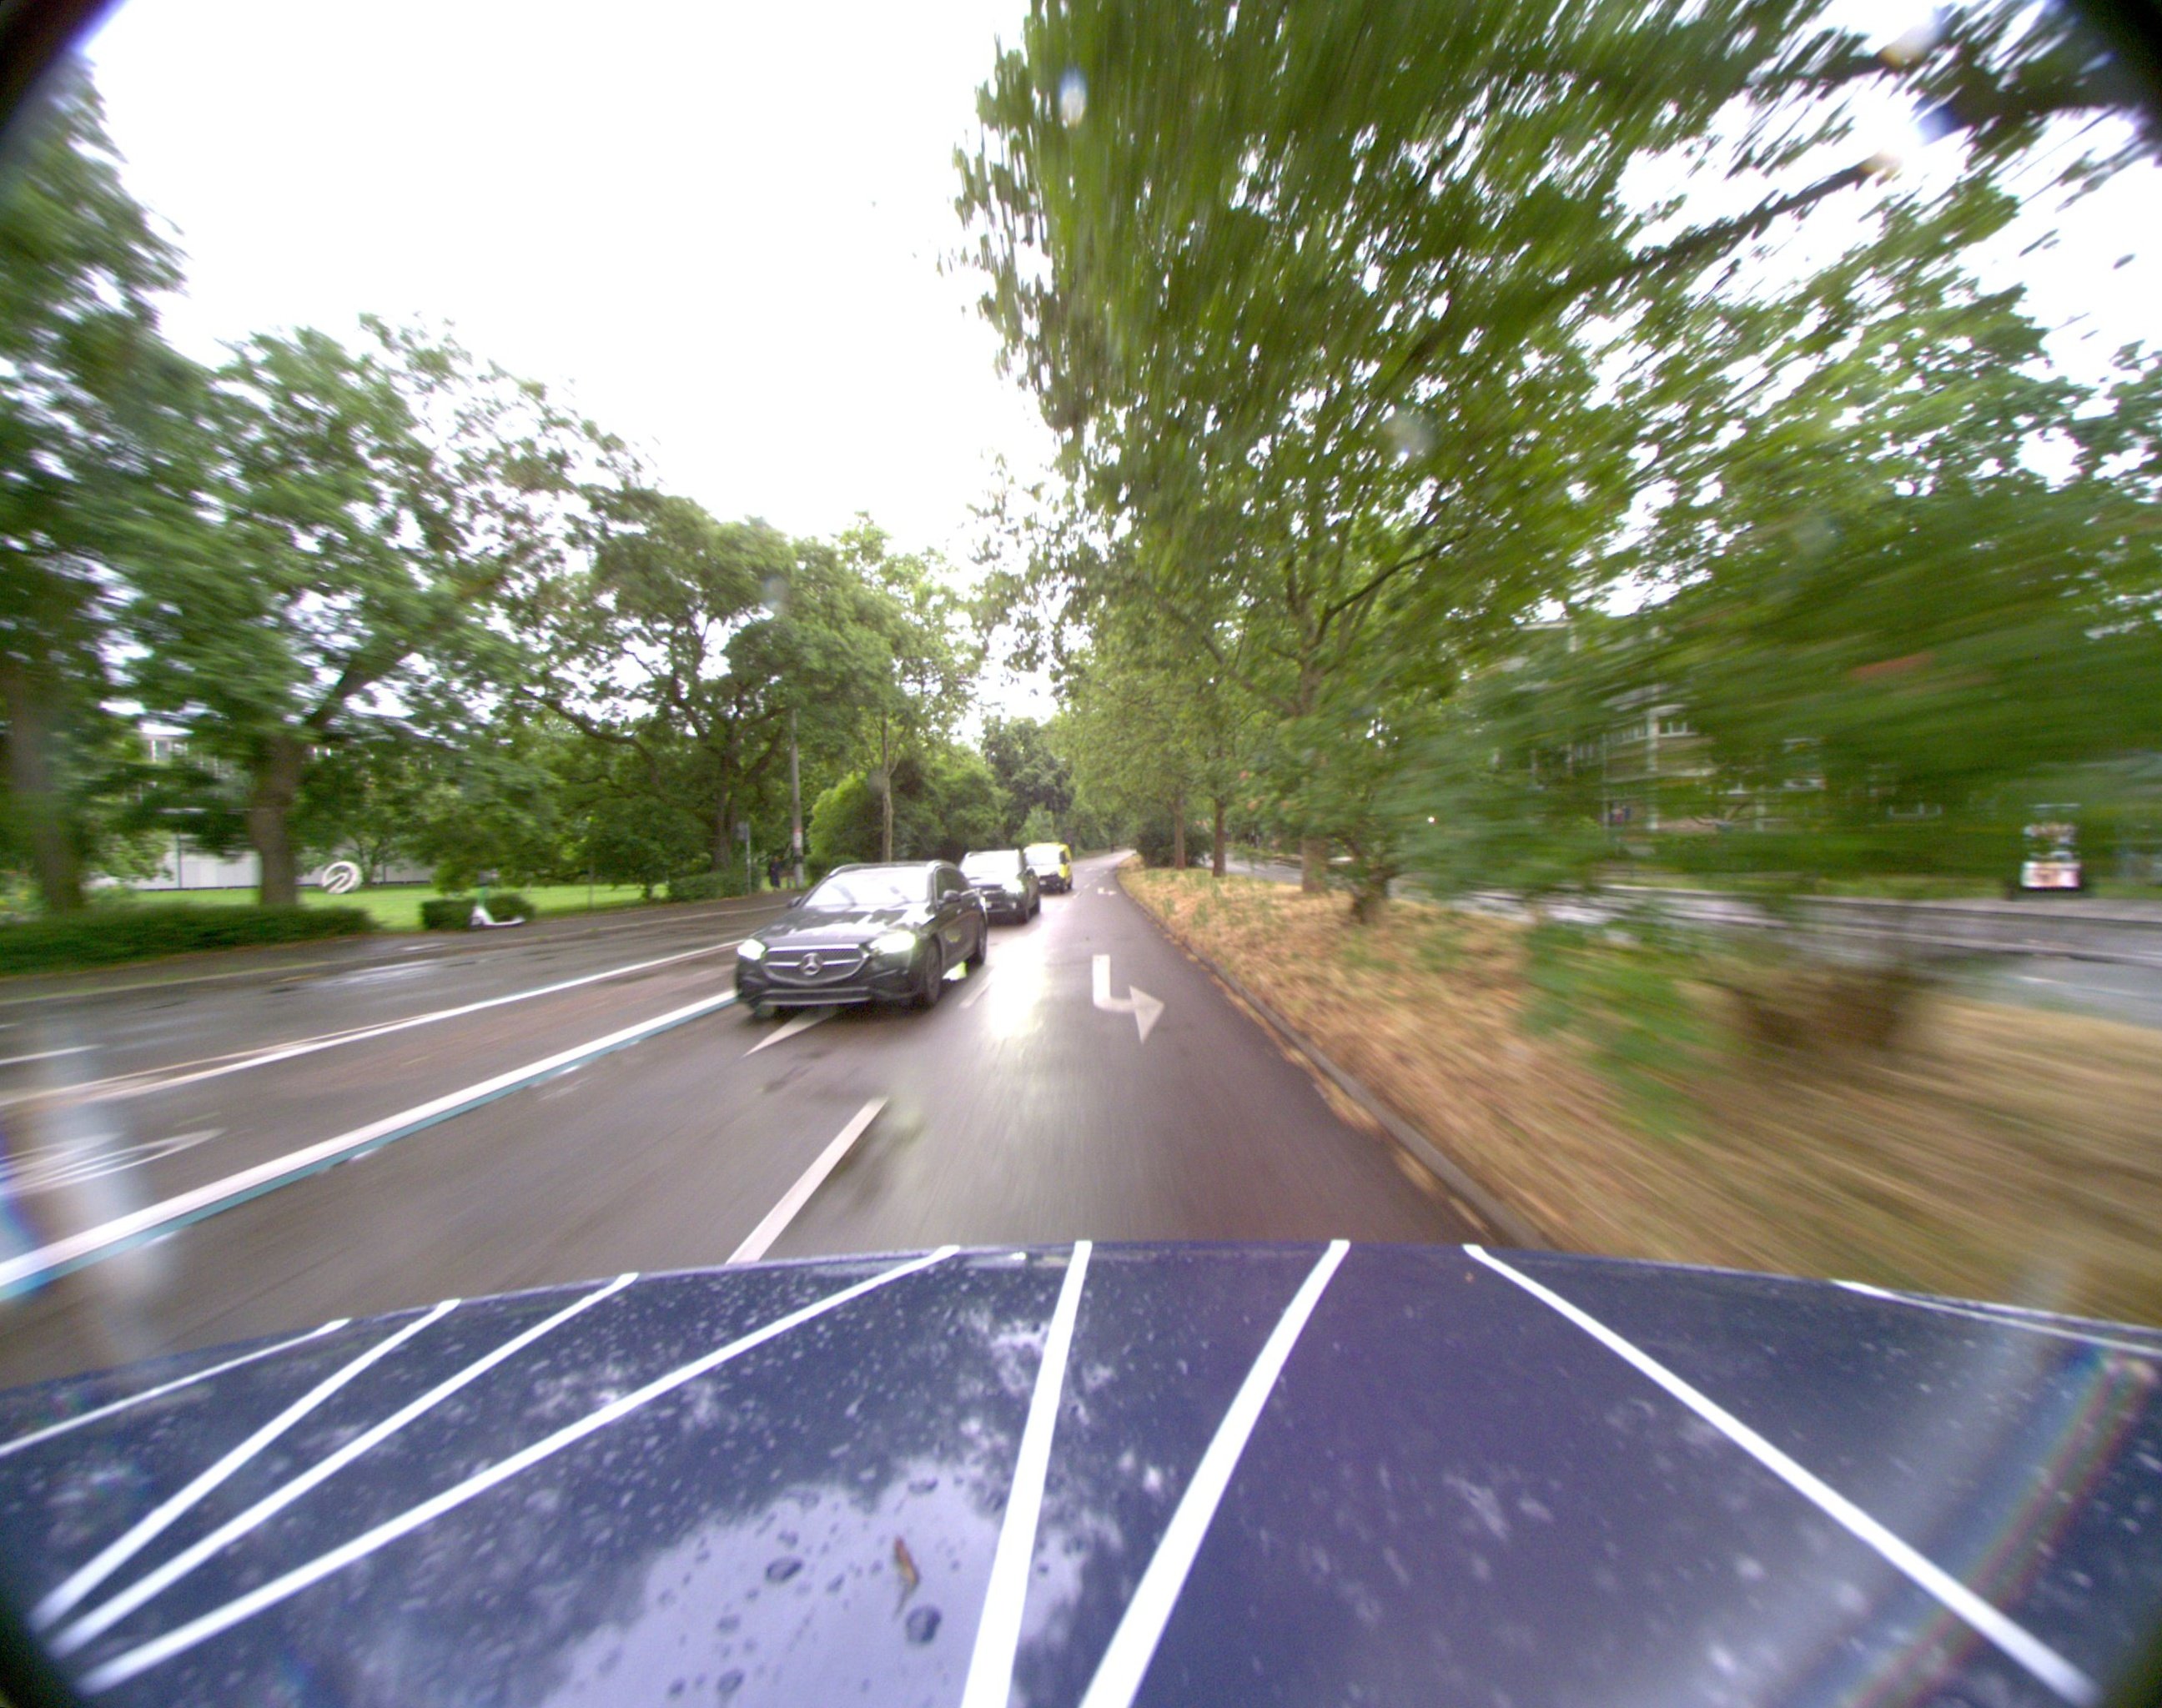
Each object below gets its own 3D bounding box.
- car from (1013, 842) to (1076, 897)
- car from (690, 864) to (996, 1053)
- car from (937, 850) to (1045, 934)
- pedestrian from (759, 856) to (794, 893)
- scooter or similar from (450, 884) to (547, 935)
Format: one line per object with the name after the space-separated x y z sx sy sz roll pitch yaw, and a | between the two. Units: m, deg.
-1.315 0.528 29.543 1.884 1.865 4.742 -3 1 3 | car
-2.345 0.948 9.057 1.884 1.437 4.930 -3 1 2 | car
-1.975 0.784 18.051 1.833 1.599 4.576 -3 1 1 | car
-13.965 0.914 34.841 1.068 1.597 1.060 -1 3 43 | pedestrian
-14.416 1.344 18.867 0.557 1.095 1.894 2 1 22 | scooter or similar
